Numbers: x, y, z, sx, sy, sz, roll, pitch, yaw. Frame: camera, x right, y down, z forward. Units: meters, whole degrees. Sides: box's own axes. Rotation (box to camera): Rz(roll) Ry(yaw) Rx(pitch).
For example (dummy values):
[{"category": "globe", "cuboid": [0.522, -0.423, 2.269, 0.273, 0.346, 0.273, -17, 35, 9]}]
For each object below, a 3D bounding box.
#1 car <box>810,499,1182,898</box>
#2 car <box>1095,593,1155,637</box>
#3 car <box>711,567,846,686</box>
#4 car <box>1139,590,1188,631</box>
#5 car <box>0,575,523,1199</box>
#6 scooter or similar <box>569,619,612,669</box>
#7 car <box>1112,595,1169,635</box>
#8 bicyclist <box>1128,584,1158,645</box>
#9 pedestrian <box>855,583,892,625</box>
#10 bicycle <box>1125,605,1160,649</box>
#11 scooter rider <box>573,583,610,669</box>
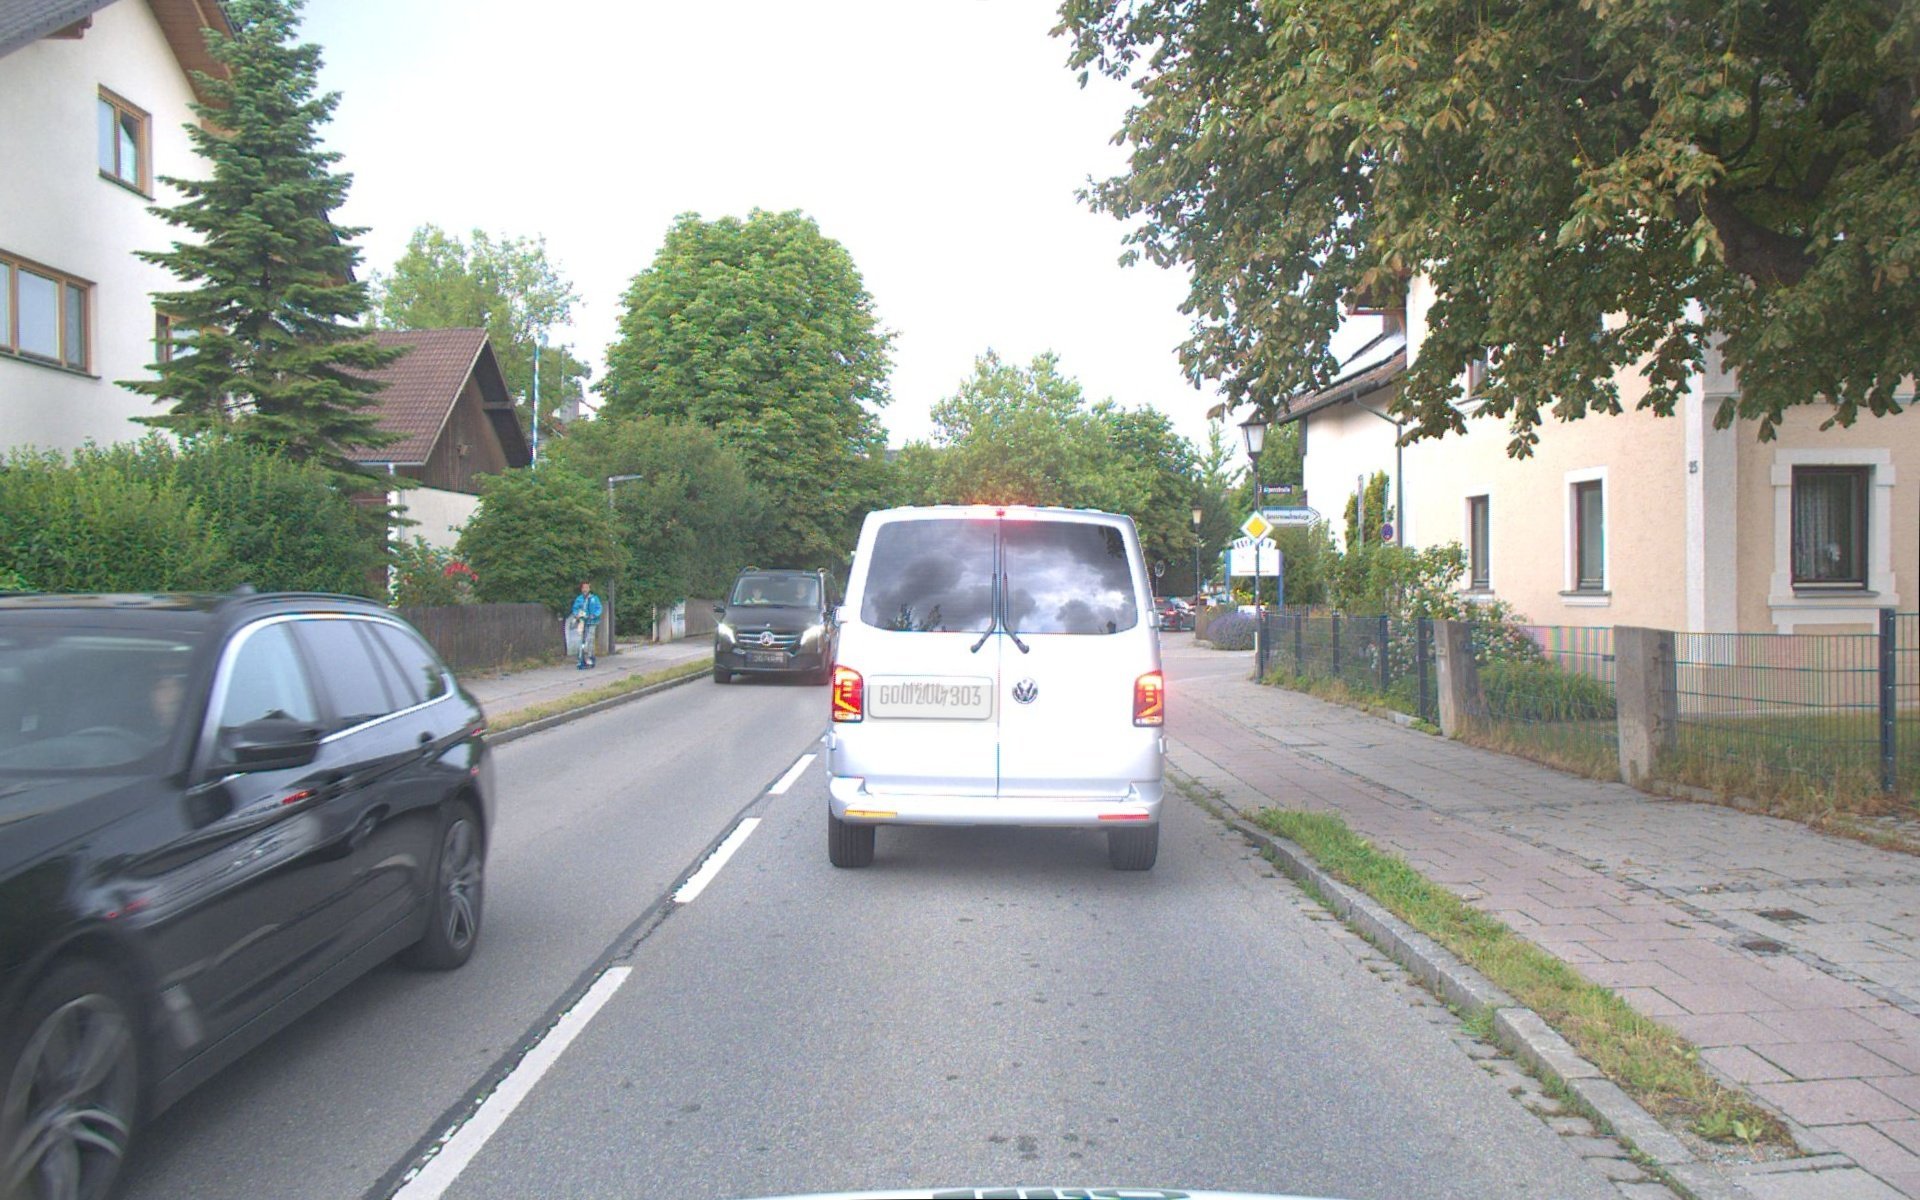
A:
[{"category": "car", "cuboid": [0.189, 0.481, 10.180, 1.842, 1.974, 3.920, 0, 0, 0]}, {"category": "car", "cuboid": [6.132, 0.524, 61.236, 1.841, 1.562, 3.924, 0, 0, 11]}, {"category": "car", "cuboid": [-3.061, 0.414, 28.816, 1.925, 1.885, 4.946, 0, 0, -2]}, {"category": "car", "cuboid": [9.131, 0.469, 74.166, 1.841, 1.779, 4.084, 0, 0, 12]}, {"category": "car", "cuboid": [-2.824, 0.692, 5.037, 1.808, 1.479, 4.548, 0, 0, -1]}, {"category": "scooter or similar", "cuboid": [-6.570, 0.776, 29.450, 0.511, 0.865, 1.061, 0, 0, 0]}, {"category": "car", "cuboid": [7.364, 0.567, 67.145, 1.841, 1.562, 3.924, 0, 0, 13]}, {"category": "bicyclist", "cuboid": [5.007, 0.389, 45.270, 0.721, 1.661, 0.890, 0, 0, 0]}, {"category": "pedestrian", "cuboid": [-3.785, 0.181, 72.126, 1.303, 1.834, 1.060, 0, 0, -27]}, {"category": "bicycle", "cuboid": [4.983, 0.731, 45.252, 0.749, 1.163, 1.845, 0, 0, 0]}, {"category": "scooter rider", "cuboid": [-6.554, 0.458, 29.412, 0.492, 1.515, 0.716, 0, 0, -1]}]
